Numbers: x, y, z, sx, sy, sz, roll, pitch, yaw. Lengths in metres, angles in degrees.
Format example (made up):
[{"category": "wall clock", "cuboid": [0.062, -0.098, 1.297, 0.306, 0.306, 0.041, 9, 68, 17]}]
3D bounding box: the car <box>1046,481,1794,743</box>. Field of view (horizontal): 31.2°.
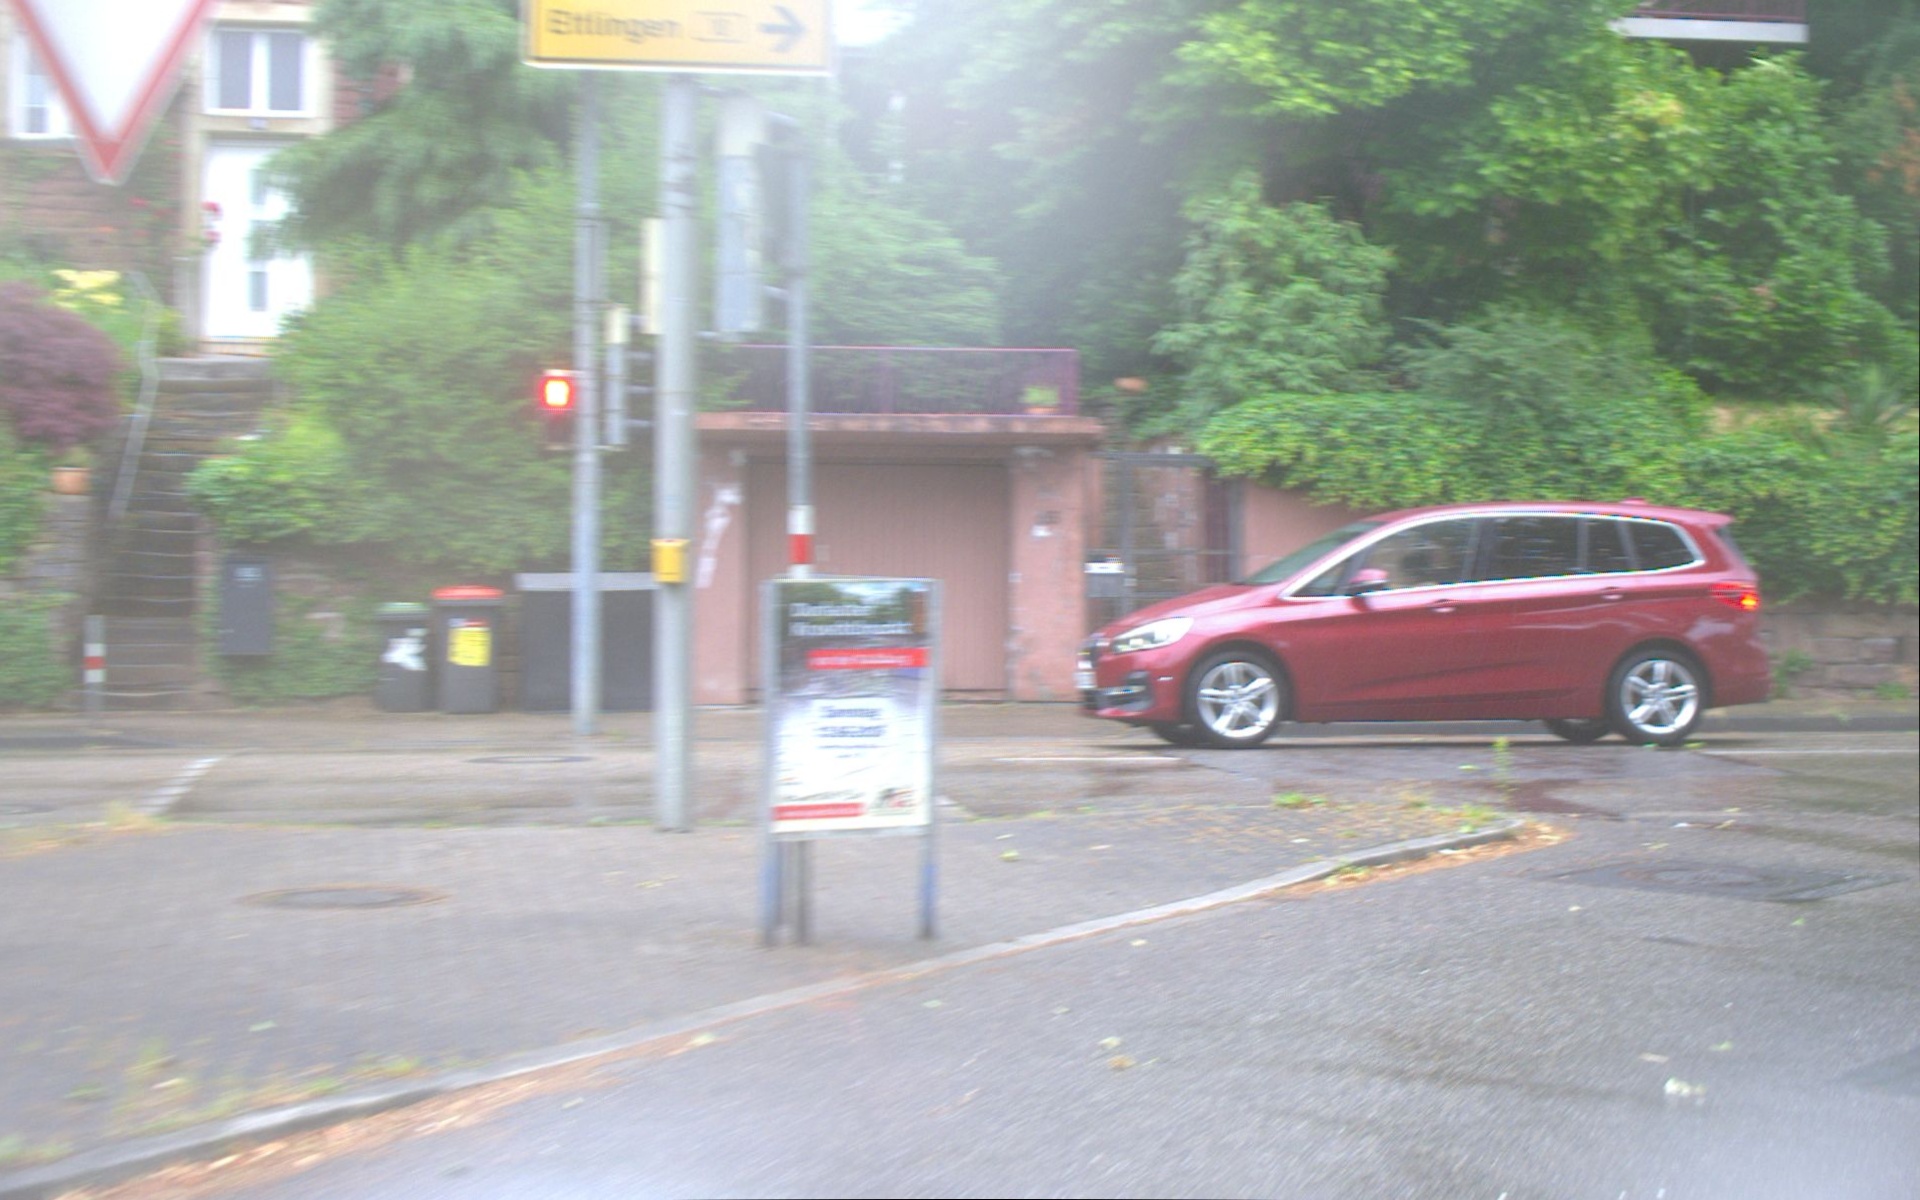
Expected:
[{"category": "car", "cuboid": [2.975, 0.072, 22.715, 4.567, 1.595, 1.775, -1, 0, -8]}]
